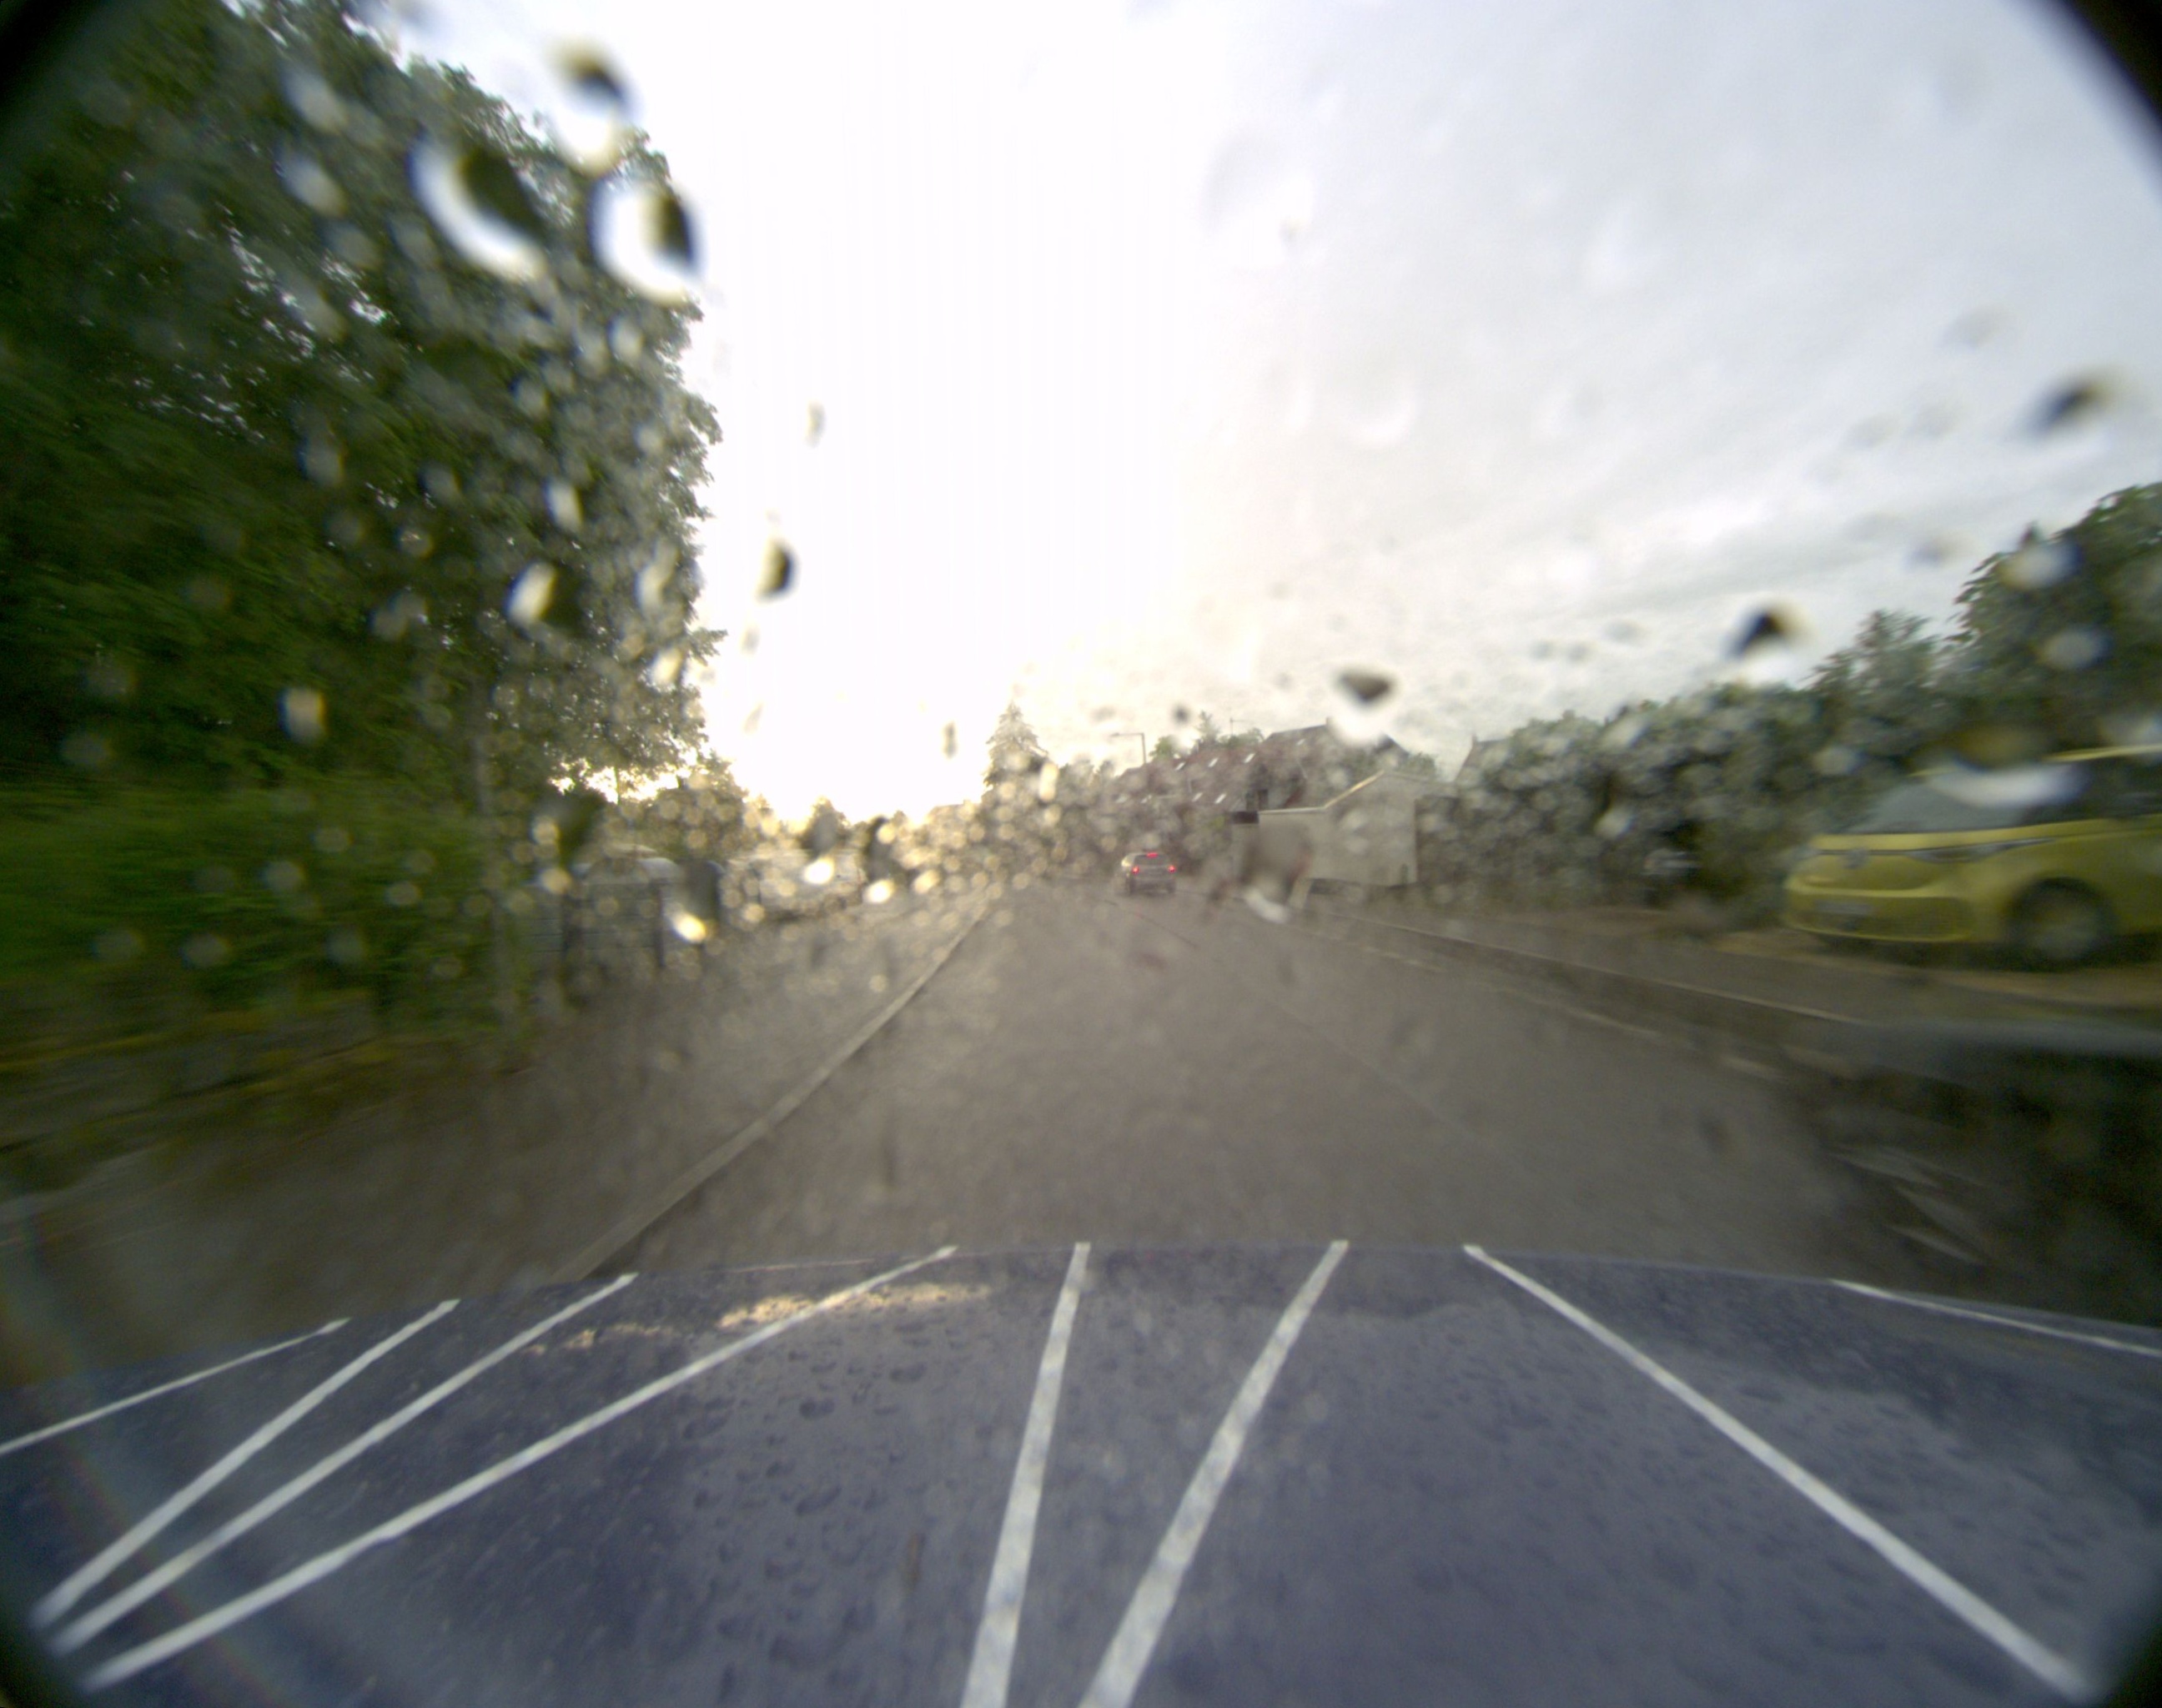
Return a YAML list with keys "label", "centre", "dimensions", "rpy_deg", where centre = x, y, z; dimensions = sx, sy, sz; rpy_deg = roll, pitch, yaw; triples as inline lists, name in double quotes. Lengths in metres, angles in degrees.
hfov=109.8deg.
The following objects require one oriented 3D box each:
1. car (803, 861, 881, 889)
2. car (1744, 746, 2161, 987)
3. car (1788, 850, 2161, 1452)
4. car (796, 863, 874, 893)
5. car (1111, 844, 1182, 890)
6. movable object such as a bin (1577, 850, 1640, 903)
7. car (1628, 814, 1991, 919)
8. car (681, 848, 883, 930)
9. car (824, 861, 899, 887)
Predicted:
- label: "car"
  centre: [-14.473, 1.251, 46.142]
  dimensions: [1.747, 1.498, 4.099]
  rpy_deg: [-2, 0, 43]
- label: "car"
  centre: [9.405, 0.011, 7.093]
  dimensions: [4.514, 1.849, 2.089]
  rpy_deg: [-3, 1, 1]
- label: "car"
  centre: [3.709, 0.796, 0.923]
  dimensions: [1.838, 1.503, 4.168]
  rpy_deg: [-3, 1, 1]
- label: "car"
  centre: [-13.741, 1.324, 42.587]
  dimensions: [1.747, 1.471, 3.803]
  rpy_deg: [-2, 0, 37]
- label: "car"
  centre: [2.406, 0.448, 29.120]
  dimensions: [1.839, 1.503, 4.614]
  rpy_deg: [-4, 1, -5]
- label: "movable object such as a bin"
  centre: [9.513, 0.401, 13.724]
  dimensions: [0.687, 0.899, 0.619]
  rpy_deg: [-2, 1, -15]
- label: "car"
  centre: [10.862, 0.162, 11.501]
  dimensions: [4.007, 1.295, 1.790]
  rpy_deg: [-2, 1, -6]
- label: "car"
  centre: [-8.449, 0.910, 21.856]
  dimensions: [2.151, 1.929, 4.851]
  rpy_deg: [-3, 1, 42]
- label: "car"
  centre: [-14.355, 1.281, 49.822]
  dimensions: [4.323, 1.455, 1.808]
  rpy_deg: [-2, 0, -38]
